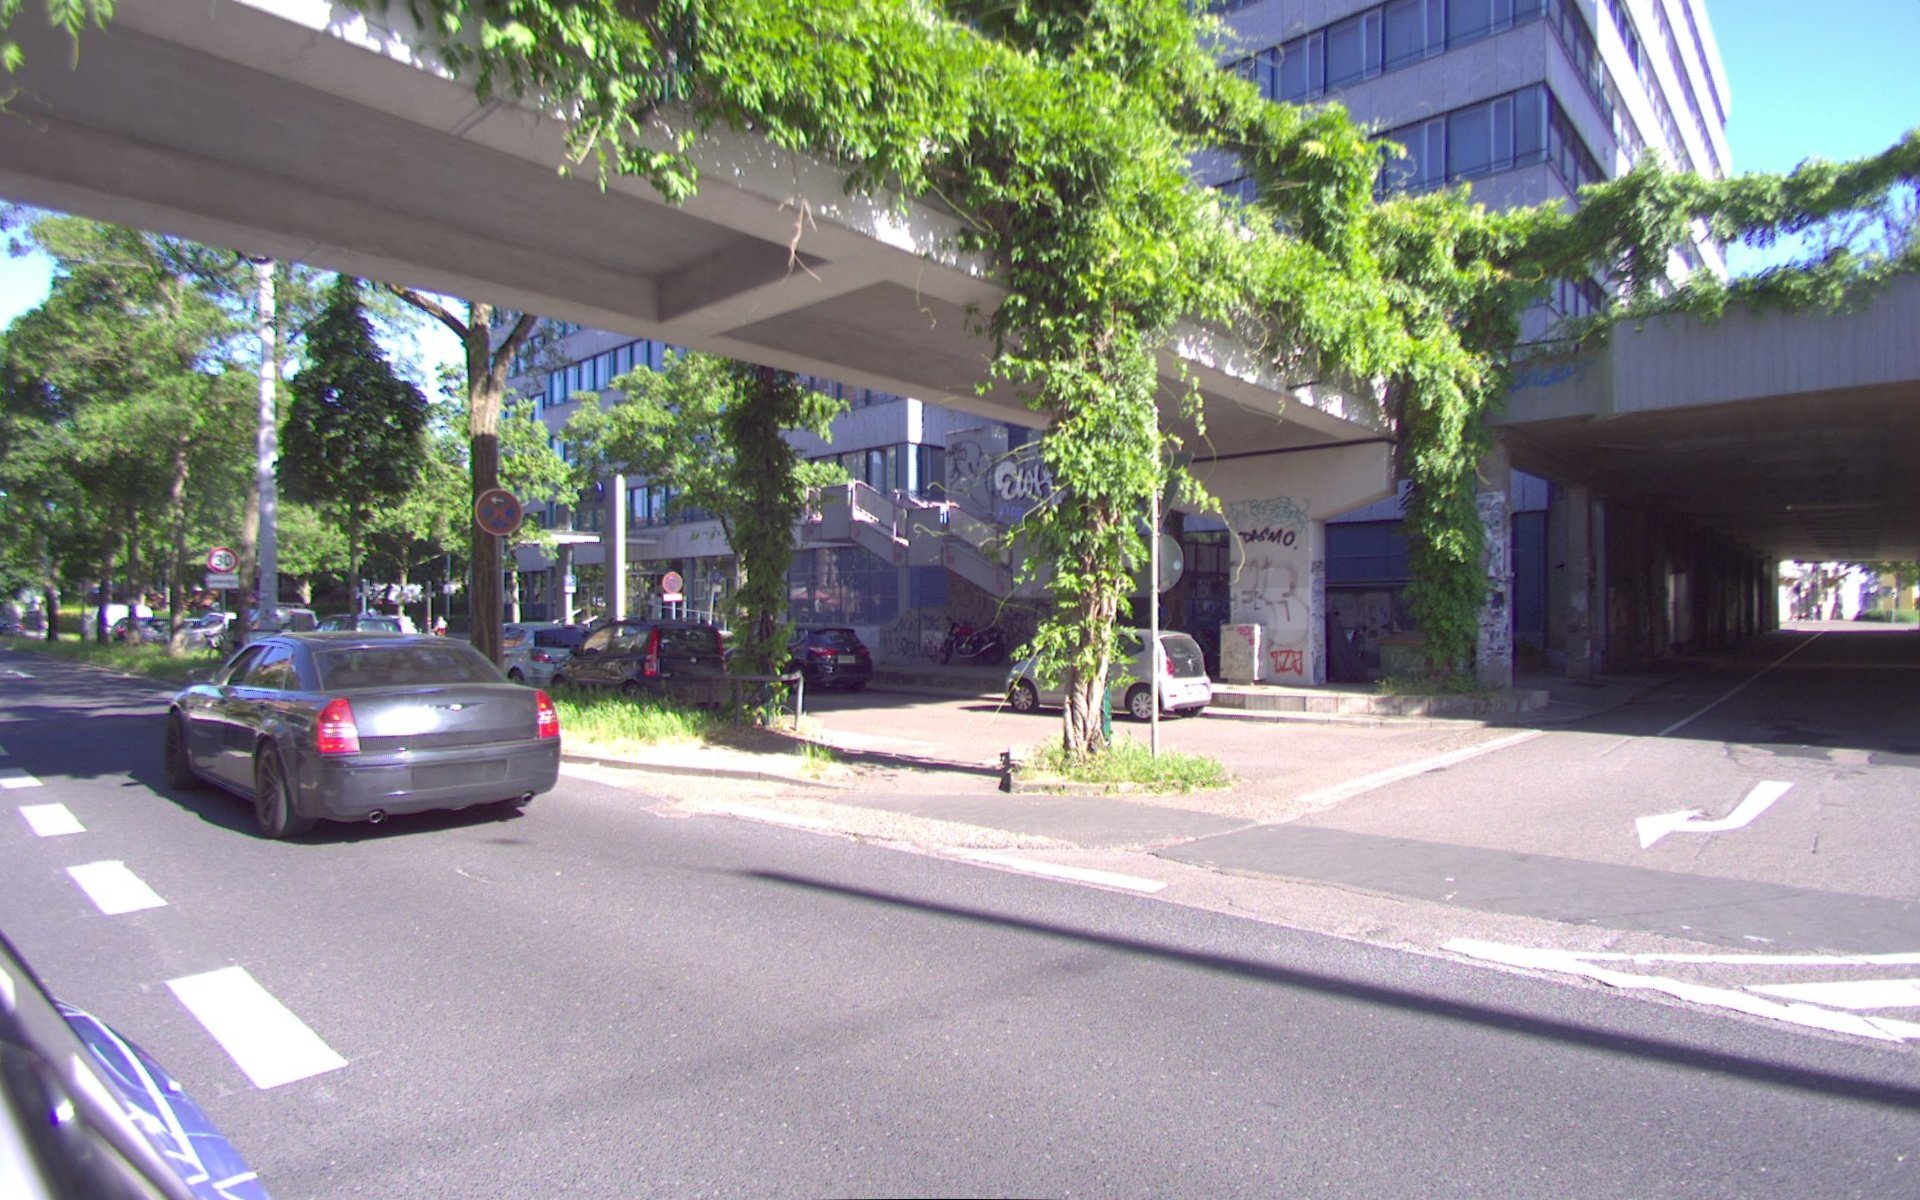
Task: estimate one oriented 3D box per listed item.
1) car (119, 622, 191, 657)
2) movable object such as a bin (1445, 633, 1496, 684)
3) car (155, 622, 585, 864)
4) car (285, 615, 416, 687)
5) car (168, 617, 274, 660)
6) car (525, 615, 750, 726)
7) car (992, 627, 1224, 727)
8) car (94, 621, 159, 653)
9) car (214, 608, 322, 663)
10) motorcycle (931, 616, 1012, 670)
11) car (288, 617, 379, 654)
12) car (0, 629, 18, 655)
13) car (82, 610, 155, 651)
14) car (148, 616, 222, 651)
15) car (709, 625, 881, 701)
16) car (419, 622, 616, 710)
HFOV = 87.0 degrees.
[{"bbox_3d":[-33.179,1.590,41.686,3.967,1.354,1.635,-1,-1,41],"label":"car"},{"bbox_3d":[9.520,1.082,18.883,0.718,0.912,0.632,-1,-1,40],"label":"movable object such as a bin"},{"bbox_3d":[-5.115,0.925,8.457,4.593,1.469,1.845,-1,-2,43],"label":"car"},{"bbox_3d":[-15.352,1.225,25.418,4.083,1.659,1.753,-1,-1,43],"label":"car"},{"bbox_3d":[-25.619,1.282,35.042,4.484,1.394,1.700,-1,-1,36],"label":"car"},{"bbox_3d":[-5.184,1.054,16.064,3.779,1.550,1.721,-1,-4,42],"label":"car"},{"bbox_3d":[2.451,1.220,17.204,3.647,1.497,1.589,-1,-2,42],"label":"car"},{"bbox_3d":[-37.074,1.614,44.982,4.188,1.343,1.657,-1,-1,43],"label":"car"},{"bbox_3d":[-21.098,1.036,30.802,4.447,1.561,1.711,-1,-1,42],"label":"car"},{"bbox_3d":[0.267,1.043,24.951,2.053,1.280,0.721,-1,-1,41],"label":"motorcycle"},{"bbox_3d":[-34.169,1.909,55.245,3.940,1.726,1.707,-3,2,-43],"label":"car"},{"bbox_3d":[-58.520,2.565,61.412,4.000,1.501,1.717,-1,-1,43],"label":"car"},{"bbox_3d":[-40.815,1.439,49.047,4.523,1.923,2.043,-1,-1,41],"label":"car"},{"bbox_3d":[-29.108,1.230,37.974,3.847,1.236,1.633,-1,-1,43],"label":"car"},{"bbox_3d":[-3.777,1.338,22.767,3.999,1.541,1.714,-1,-2,42],"label":"car"},{"bbox_3d":[-8.337,1.184,18.914,4.280,1.459,1.635,-1,-5,41],"label":"car"}]
